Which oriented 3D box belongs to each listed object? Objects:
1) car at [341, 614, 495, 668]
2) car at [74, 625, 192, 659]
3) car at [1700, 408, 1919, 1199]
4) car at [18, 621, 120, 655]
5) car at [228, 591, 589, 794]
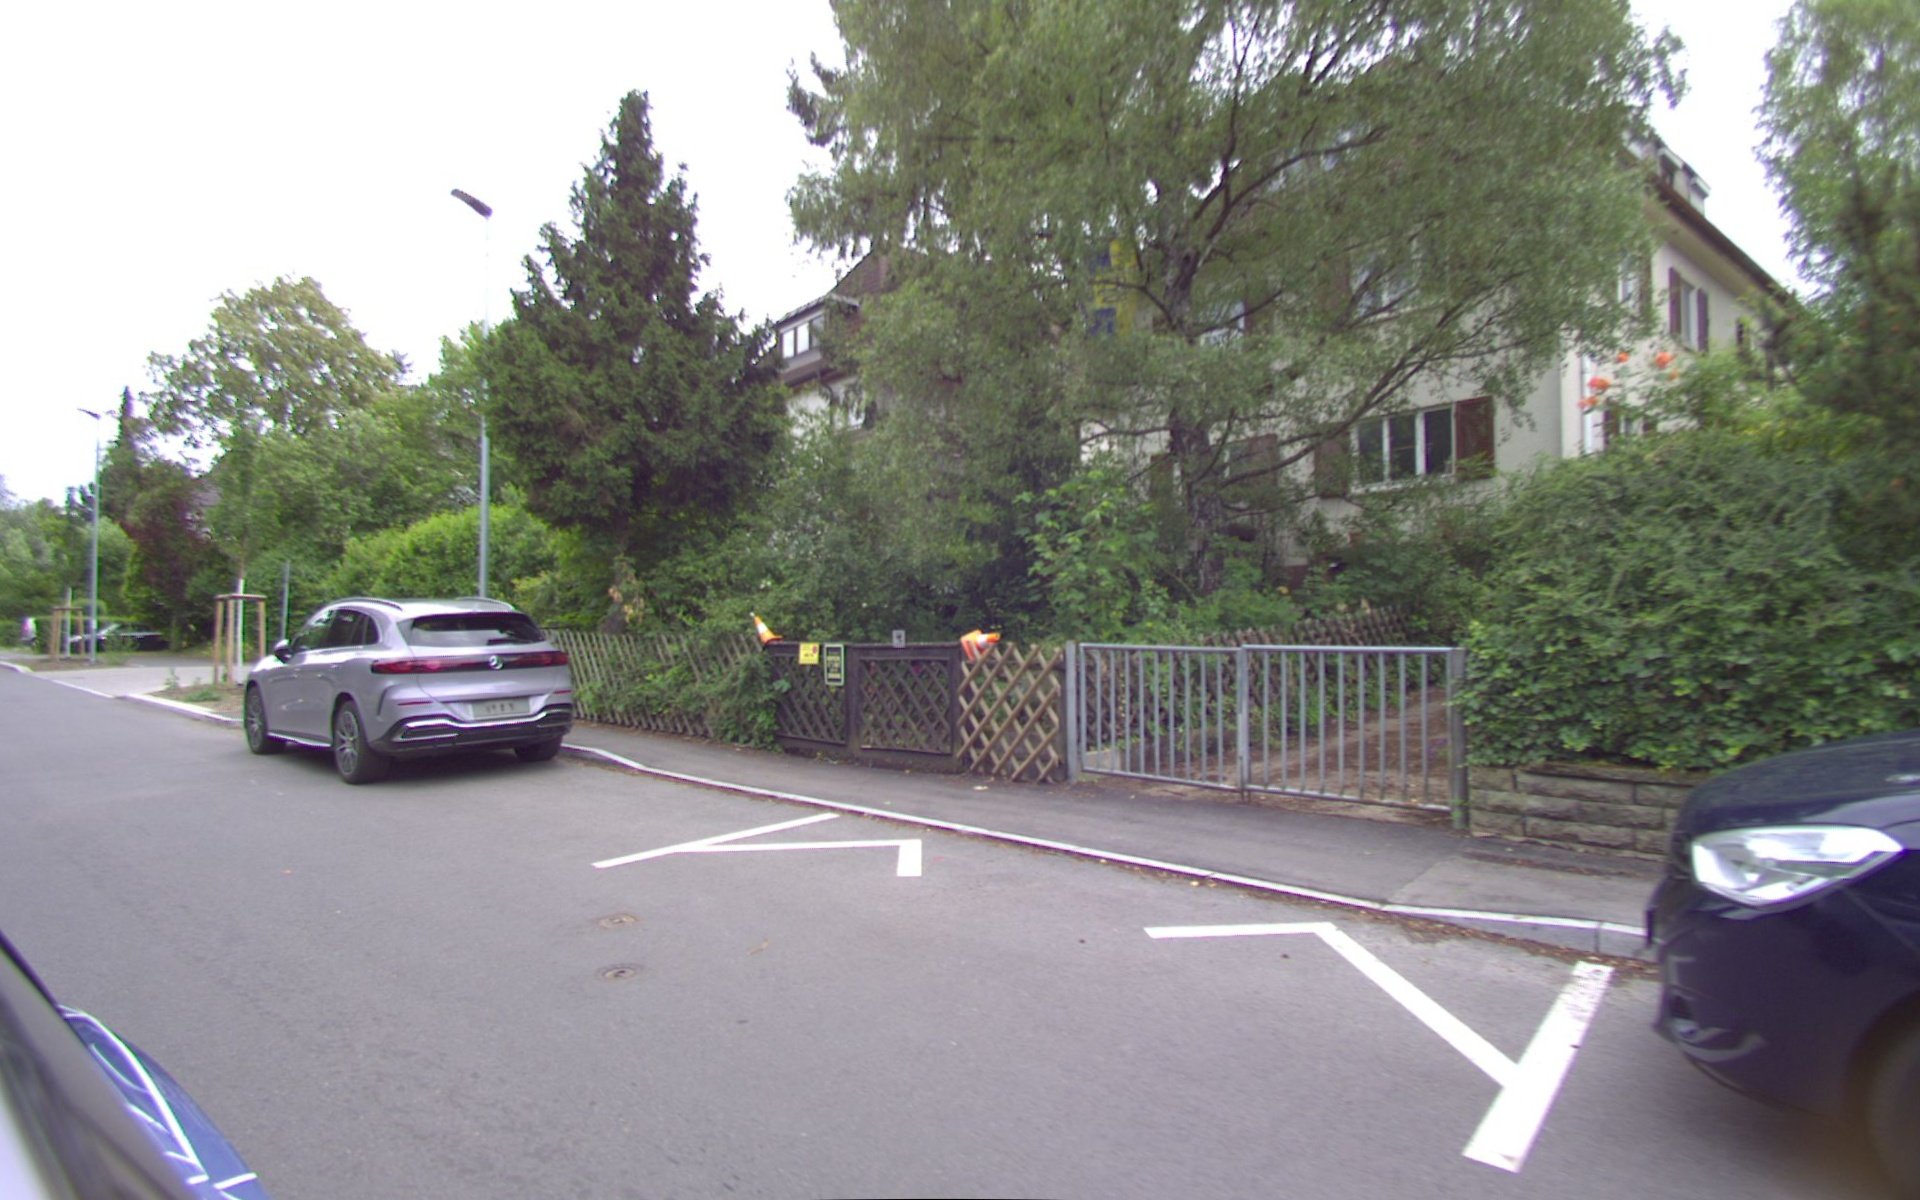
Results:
[{"bbox_3d":[-17.390,1.275,32.623,1.683,1.569,4.075,-2,-1,42],"label":"car"},{"bbox_3d":[-35.354,1.762,43.322,1.641,1.324,3.723,-2,-1,43],"label":"car"},{"bbox_3d":[3.954,0.458,1.629,4.296,1.813,1.689,-2,-1,42],"label":"car"},{"bbox_3d":[-43.788,1.838,49.781,3.719,1.602,1.643,0,-1,-42],"label":"car"},{"bbox_3d":[-5.793,0.789,10.319,4.729,1.619,1.777,-2,-1,42],"label":"car"}]
